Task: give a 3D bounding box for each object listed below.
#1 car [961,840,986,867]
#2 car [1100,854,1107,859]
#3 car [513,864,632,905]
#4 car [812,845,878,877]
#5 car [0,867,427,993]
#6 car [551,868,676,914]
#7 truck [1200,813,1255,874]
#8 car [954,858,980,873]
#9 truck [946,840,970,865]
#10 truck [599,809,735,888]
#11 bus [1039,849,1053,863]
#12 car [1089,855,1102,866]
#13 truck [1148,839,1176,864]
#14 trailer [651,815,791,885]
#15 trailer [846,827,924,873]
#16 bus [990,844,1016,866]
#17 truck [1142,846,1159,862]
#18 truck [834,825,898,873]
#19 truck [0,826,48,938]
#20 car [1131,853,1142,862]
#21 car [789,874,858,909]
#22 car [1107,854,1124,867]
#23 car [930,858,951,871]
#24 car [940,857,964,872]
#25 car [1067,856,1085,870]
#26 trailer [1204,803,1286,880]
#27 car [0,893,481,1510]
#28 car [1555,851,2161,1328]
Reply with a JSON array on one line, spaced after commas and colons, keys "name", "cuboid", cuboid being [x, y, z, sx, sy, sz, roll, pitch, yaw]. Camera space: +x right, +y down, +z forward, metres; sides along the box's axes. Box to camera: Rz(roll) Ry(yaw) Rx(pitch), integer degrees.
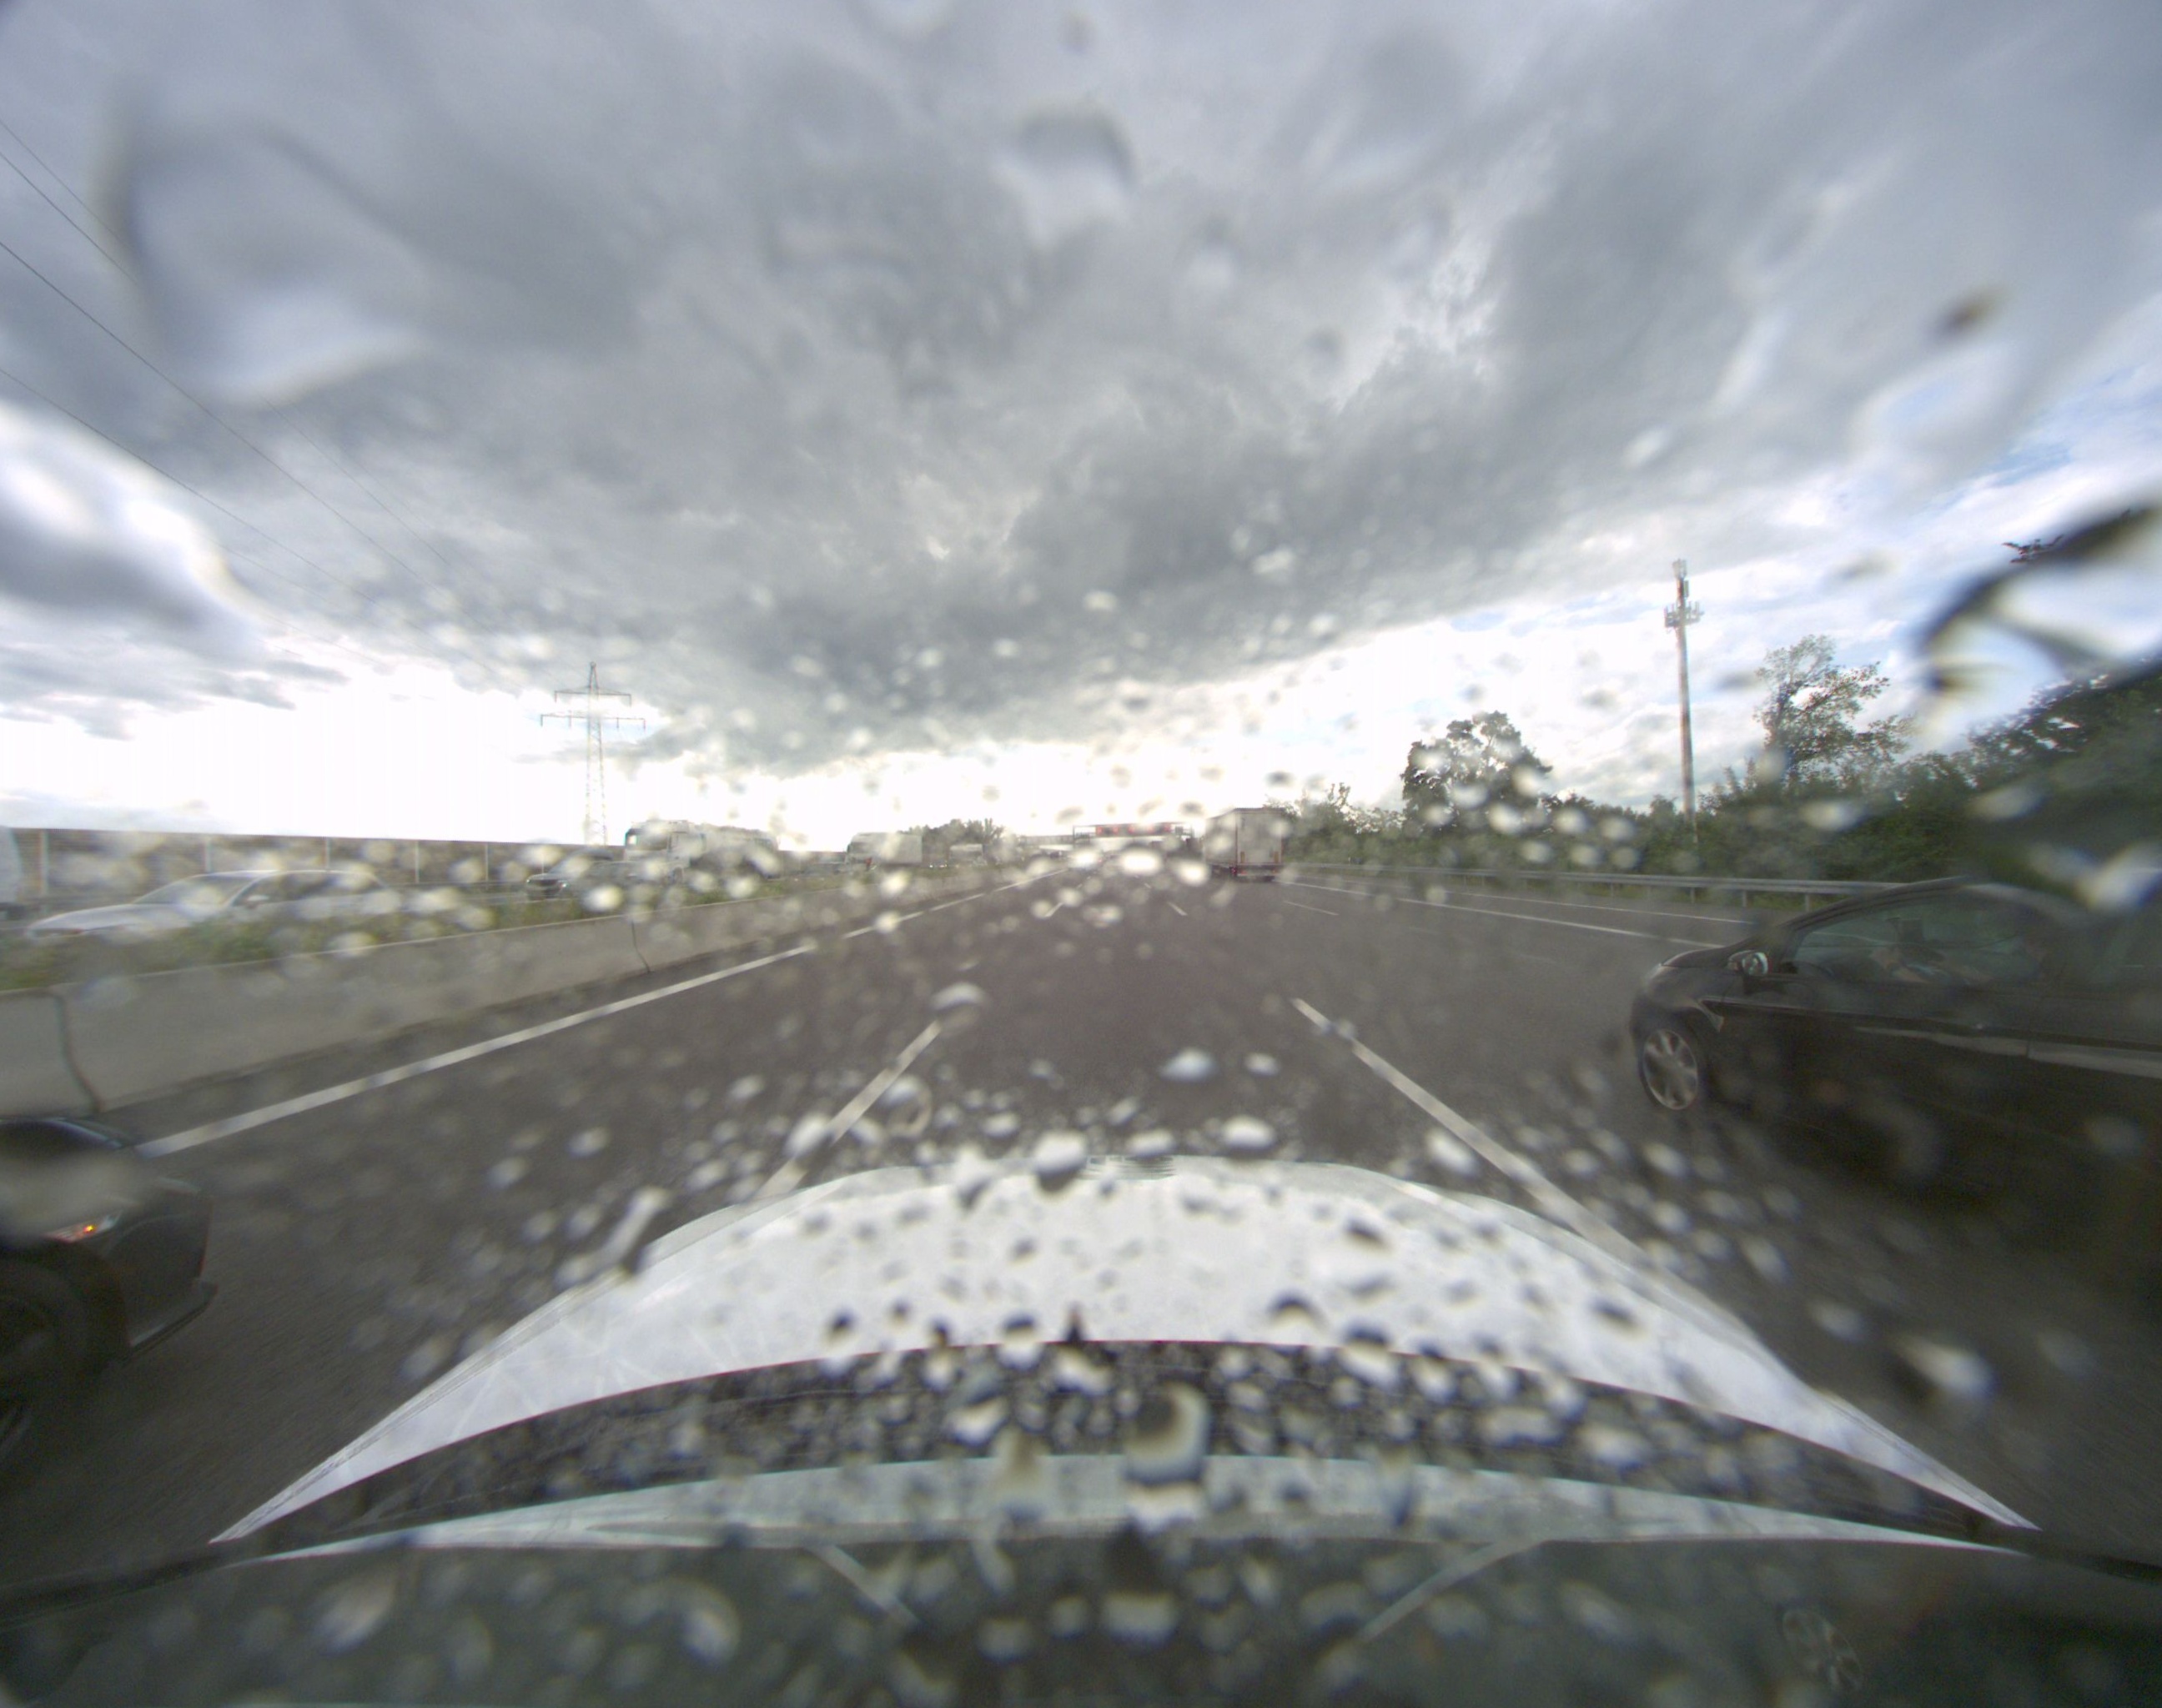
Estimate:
[{"name": "car", "cuboid": [-16.538, -0.035, 125.512, 2.971, 4.150, 6.044, 0, 0, 2]}, {"name": "car", "cuboid": [6.260, 0.647, 225.508, 1.765, 1.441, 4.058, -1, 0, 3]}, {"name": "car", "cuboid": [-19.897, 1.149, 32.145, 1.781, 1.469, 4.565, 0, 0, 1]}, {"name": "car", "cuboid": [-15.536, 0.450, 53.972, 2.270, 1.968, 6.092, 0, 0, 4]}, {"name": "car", "cuboid": [-13.148, 1.001, 12.729, 1.987, 1.526, 4.740, -1, 0, 0]}, {"name": "car", "cuboid": [-16.642, 1.258, 29.305, 1.781, 1.454, 4.565, 0, 0, 1]}, {"name": "truck", "cuboid": [10.062, -0.693, 56.608, 2.949, 4.020, 6.594, -1, 0, 3]}, {"name": "car", "cuboid": [-11.004, 1.074, 78.572, 1.781, 1.454, 4.565, 0, 0, 1]}, {"name": "truck", "cuboid": [-20.682, -0.289, 137.414, 2.889, 4.116, 6.625, 0, 0, 2]}, {"name": "truck", "cuboid": [-24.327, -0.269, 48.497, 3.646, 4.319, 8.241, 0, 0, 2]}, {"name": "bus", "cuboid": [-9.667, 0.503, 224.025, 2.642, 3.679, 10.644, -1, -1, 4]}, {"name": "car", "cuboid": [2.099, 0.898, 116.794, 1.766, 1.441, 4.056, -1, 0, 1]}, {"name": "truck", "cuboid": [14.028, -0.391, 142.514, 4.164, 4.288, 12.618, 0, 0, 2]}, {"name": "trailer", "cuboid": [-24.097, -0.199, 55.684, 3.646, 4.237, 12.472, 0, 0, 2]}, {"name": "trailer", "cuboid": [-18.639, -0.347, 78.741, 3.645, 4.108, 13.408, 0, 0, 3]}, {"name": "bus", "cuboid": [-13.478, 0.250, 141.749, 2.879, 3.611, 12.764, 0, 0, 2]}, {"name": "truck", "cuboid": [18.830, -0.060, 222.182, 4.226, 4.176, 11.997, 0, 0, 3]}, {"name": "truck", "cuboid": [-19.004, -0.409, 72.349, 3.645, 4.048, 6.528, 0, 0, 3]}, {"name": "truck", "cuboid": [-24.825, 0.604, 15.548, 2.094, 2.451, 6.266, 0, 0, 1]}, {"name": "car", "cuboid": [9.032, 0.602, 132.834, 1.828, 1.441, 4.058, -1, 0, 3]}, {"name": "car", "cuboid": [-12.209, 1.742, 38.957, 1.781, 1.454, 4.565, 0, 0, 1]}, {"name": "car", "cuboid": [3.840, 0.701, 90.399, 1.766, 1.441, 4.056, -1, 0, 1]}, {"name": "car", "cuboid": [-17.793, 1.343, 103.088, 1.781, 1.591, 4.387, 0, 0, 2]}, {"name": "car", "cuboid": [-13.886, 1.124, 88.059, 1.781, 1.562, 4.565, 0, 0, 1]}, {"name": "car", "cuboid": [-0.486, 0.918, 84.053, 1.766, 1.441, 3.875, -1, 0, 1]}, {"name": "trailer", "cuboid": [9.710, -0.664, 50.119, 2.949, 4.020, 14.130, -1, 0, 3]}, {"name": "car", "cuboid": [-3.431, 0.854, 0.853, 1.754, 1.369, 5.061, -1, 0, 1]}, {"name": "car", "cuboid": [3.980, 0.717, 4.055, 1.442, 1.441, 3.164, 0, 0, 1]}]
